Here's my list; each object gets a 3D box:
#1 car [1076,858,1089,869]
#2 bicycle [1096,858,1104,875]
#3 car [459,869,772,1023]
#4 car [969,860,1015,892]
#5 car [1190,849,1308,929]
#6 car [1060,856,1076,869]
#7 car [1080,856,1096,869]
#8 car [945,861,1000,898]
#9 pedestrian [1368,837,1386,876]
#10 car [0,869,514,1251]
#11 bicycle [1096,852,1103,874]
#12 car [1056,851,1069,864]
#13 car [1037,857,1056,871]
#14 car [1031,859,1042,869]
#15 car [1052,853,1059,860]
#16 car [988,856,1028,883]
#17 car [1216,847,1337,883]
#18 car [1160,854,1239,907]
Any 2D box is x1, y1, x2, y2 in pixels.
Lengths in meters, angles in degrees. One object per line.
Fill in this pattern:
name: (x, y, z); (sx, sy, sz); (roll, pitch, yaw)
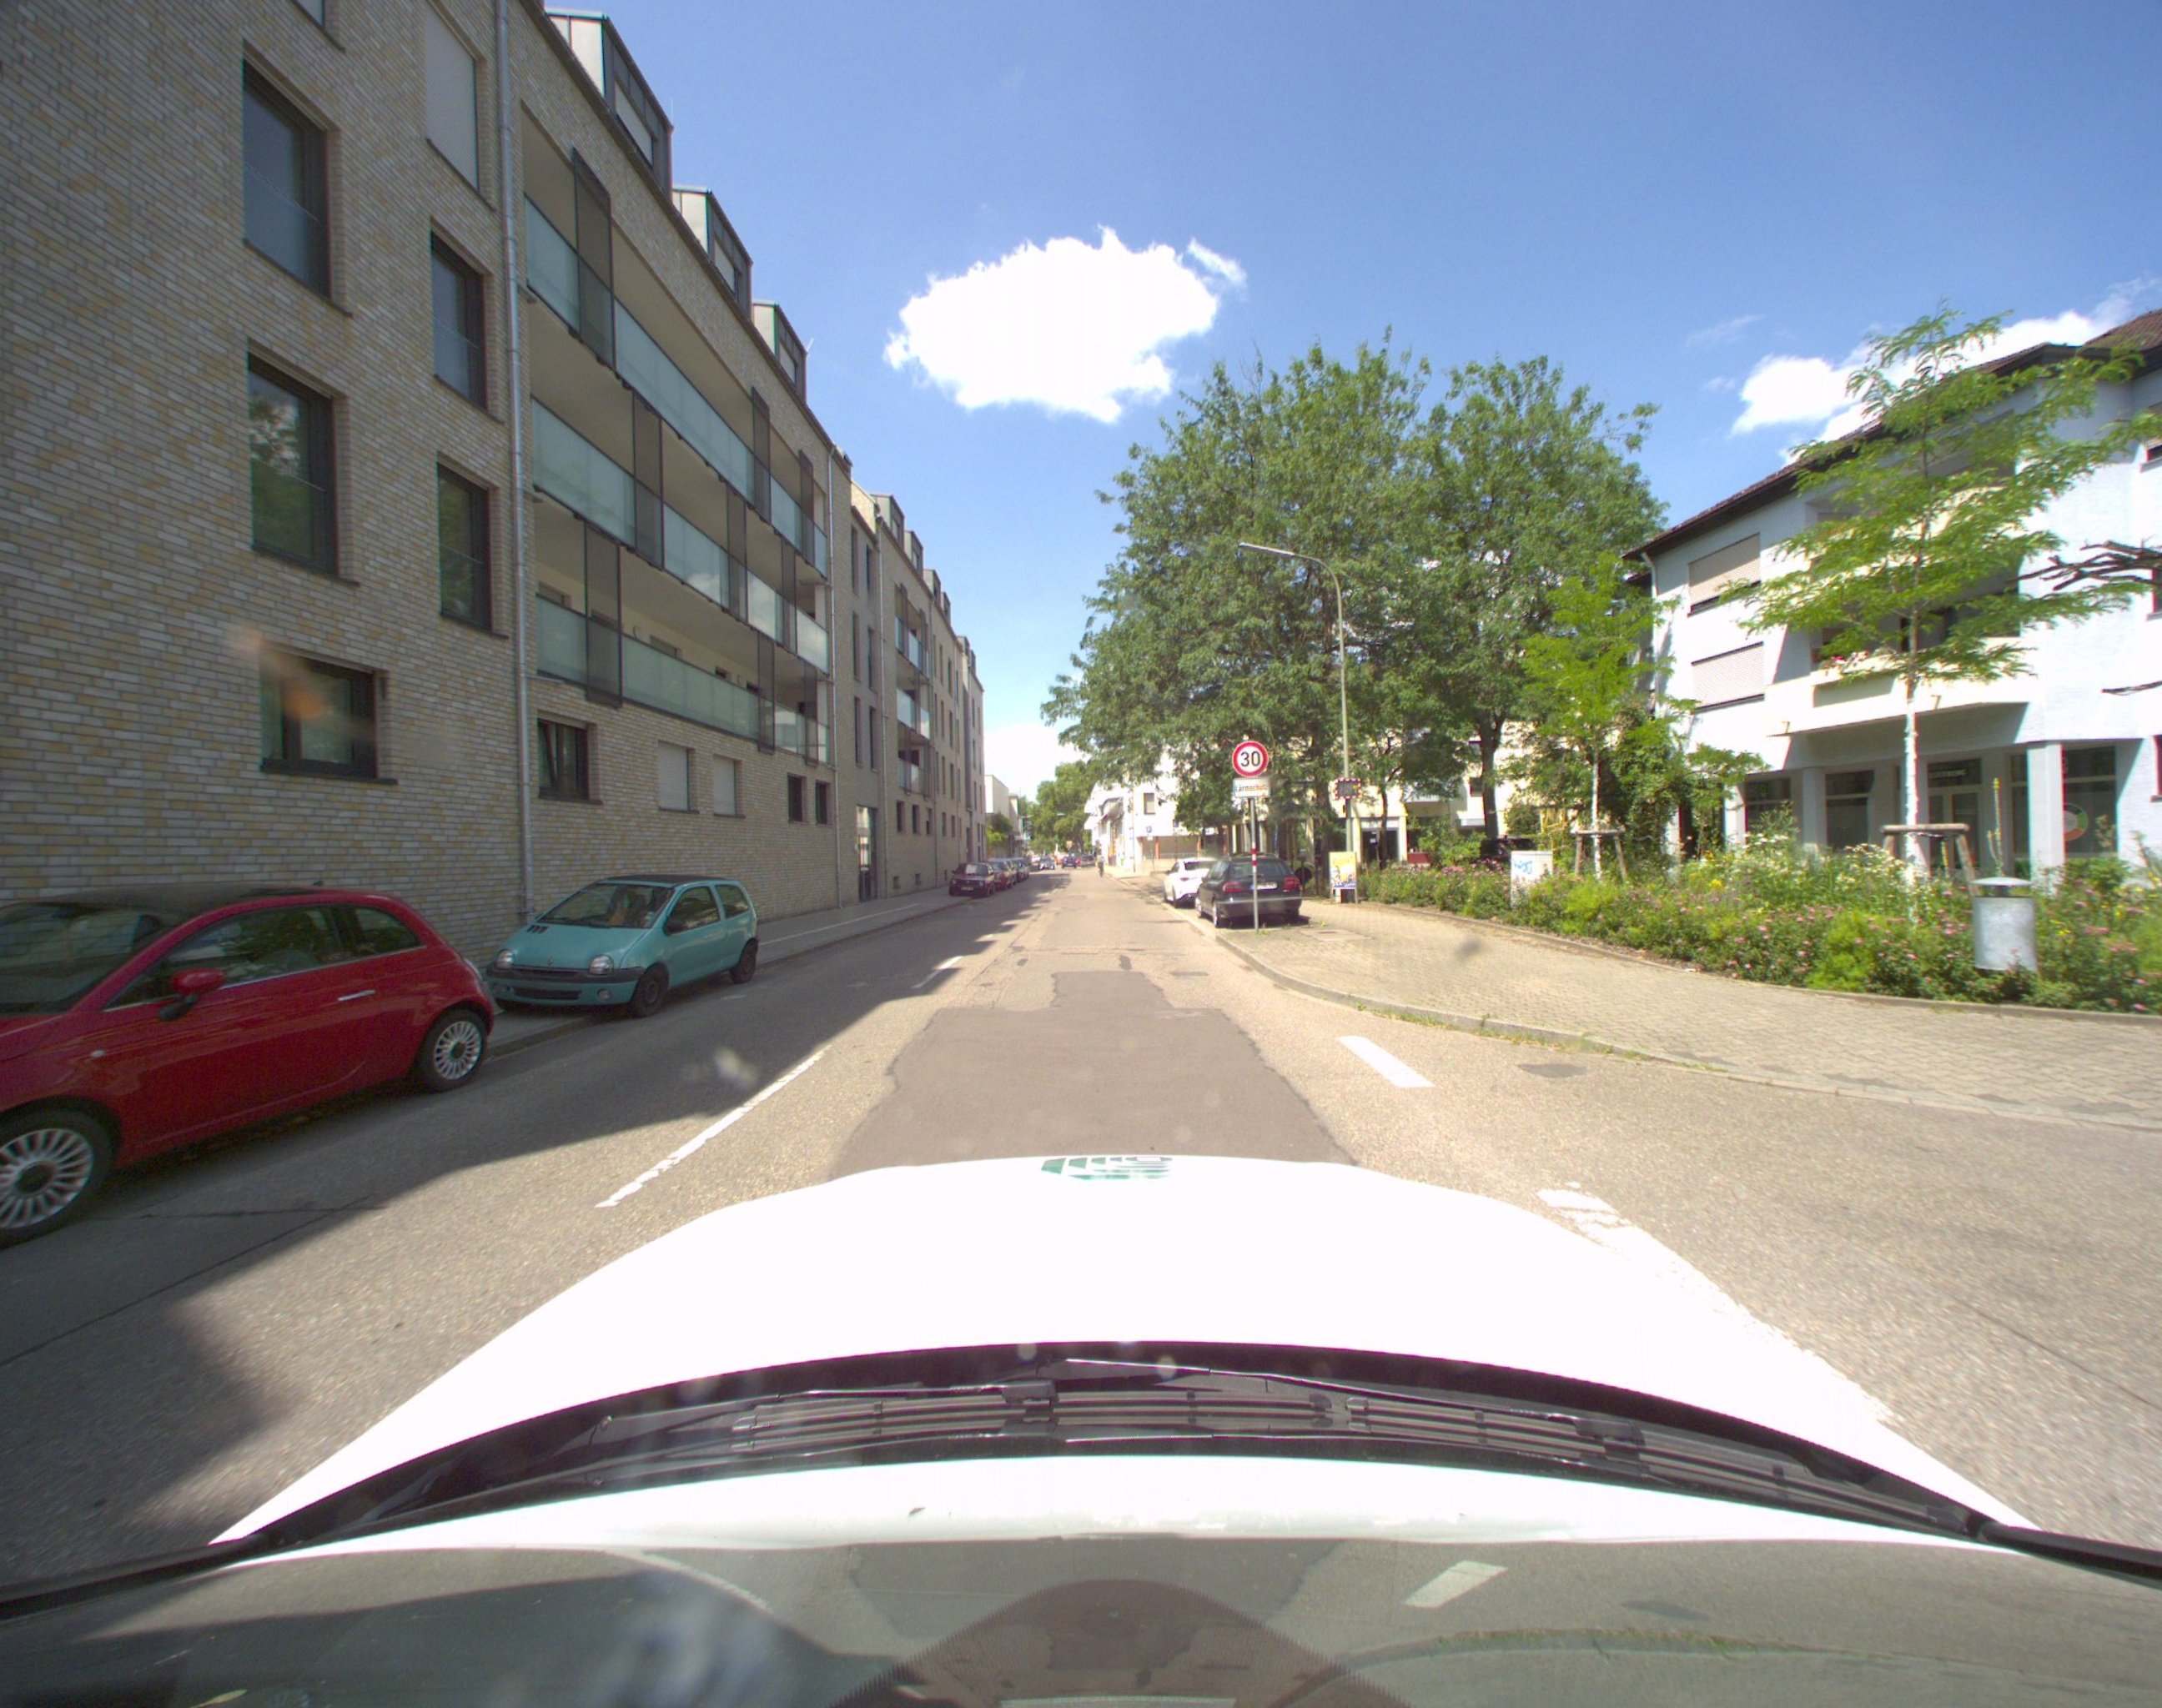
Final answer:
car: (0.220, 1.332, 111.643); (1.747, 1.452, 3.678); (-2, 0, 0)
bicycle: (1.312, 0.875, 56.848); (0.481, 1.114, 1.196); (-2, 0, 0)
car: (-5.273, 0.938, 9.846); (1.585, 1.456, 3.704); (0, 0, 1)
car: (-4.306, 1.044, 39.965); (1.726, 1.442, 4.000); (-2, 0, 1)
car: (3.513, 0.691, 17.736); (1.686, 1.420, 4.000); (-4, 0, 0)
car: (-1.544, 1.039, 96.374); (1.709, 1.402, 4.002); (-2, 0, 2)
car: (0.827, 1.034, 100.301); (1.987, 1.618, 3.999); (-1, 0, 0)
car: (-4.618, 1.069, 35.071); (1.726, 1.442, 4.000); (-2, 0, 1)
pedestrian: (14.503, 0.129, 39.870); (0.589, 1.859, 0.607); (-2, -1, 43)
car: (-5.326, 0.909, 4.663); (1.585, 1.554, 3.571); (-1, 0, 1)
bicycle: (1.298, 0.631, 56.827); (0.475, 1.490, 0.576); (-2, -1, 0)
car: (-2.884, 0.555, 127.390); (1.833, 2.013, 3.999); (-2, 0, -1)
car: (-3.835, 1.104, 92.230); (1.988, 1.519, 3.998); (-2, 0, -1)
car: (-8.973, 1.988, 164.150); (1.987, 2.013, 4.000); (-2, 0, 0)
car: (-7.414, 0.626, 236.283); (2.151, 2.013, 3.996); (-2, 0, -3)
car: (-4.123, 0.864, 46.513); (1.819, 1.420, 4.002); (0, 0, 2)
car: (7.807, 0.436, 32.794); (4.371, 1.381, 1.996); (0, 0, -5)
car: (3.459, 0.744, 24.398); (1.773, 1.420, 4.000); (-2, 0, 0)
